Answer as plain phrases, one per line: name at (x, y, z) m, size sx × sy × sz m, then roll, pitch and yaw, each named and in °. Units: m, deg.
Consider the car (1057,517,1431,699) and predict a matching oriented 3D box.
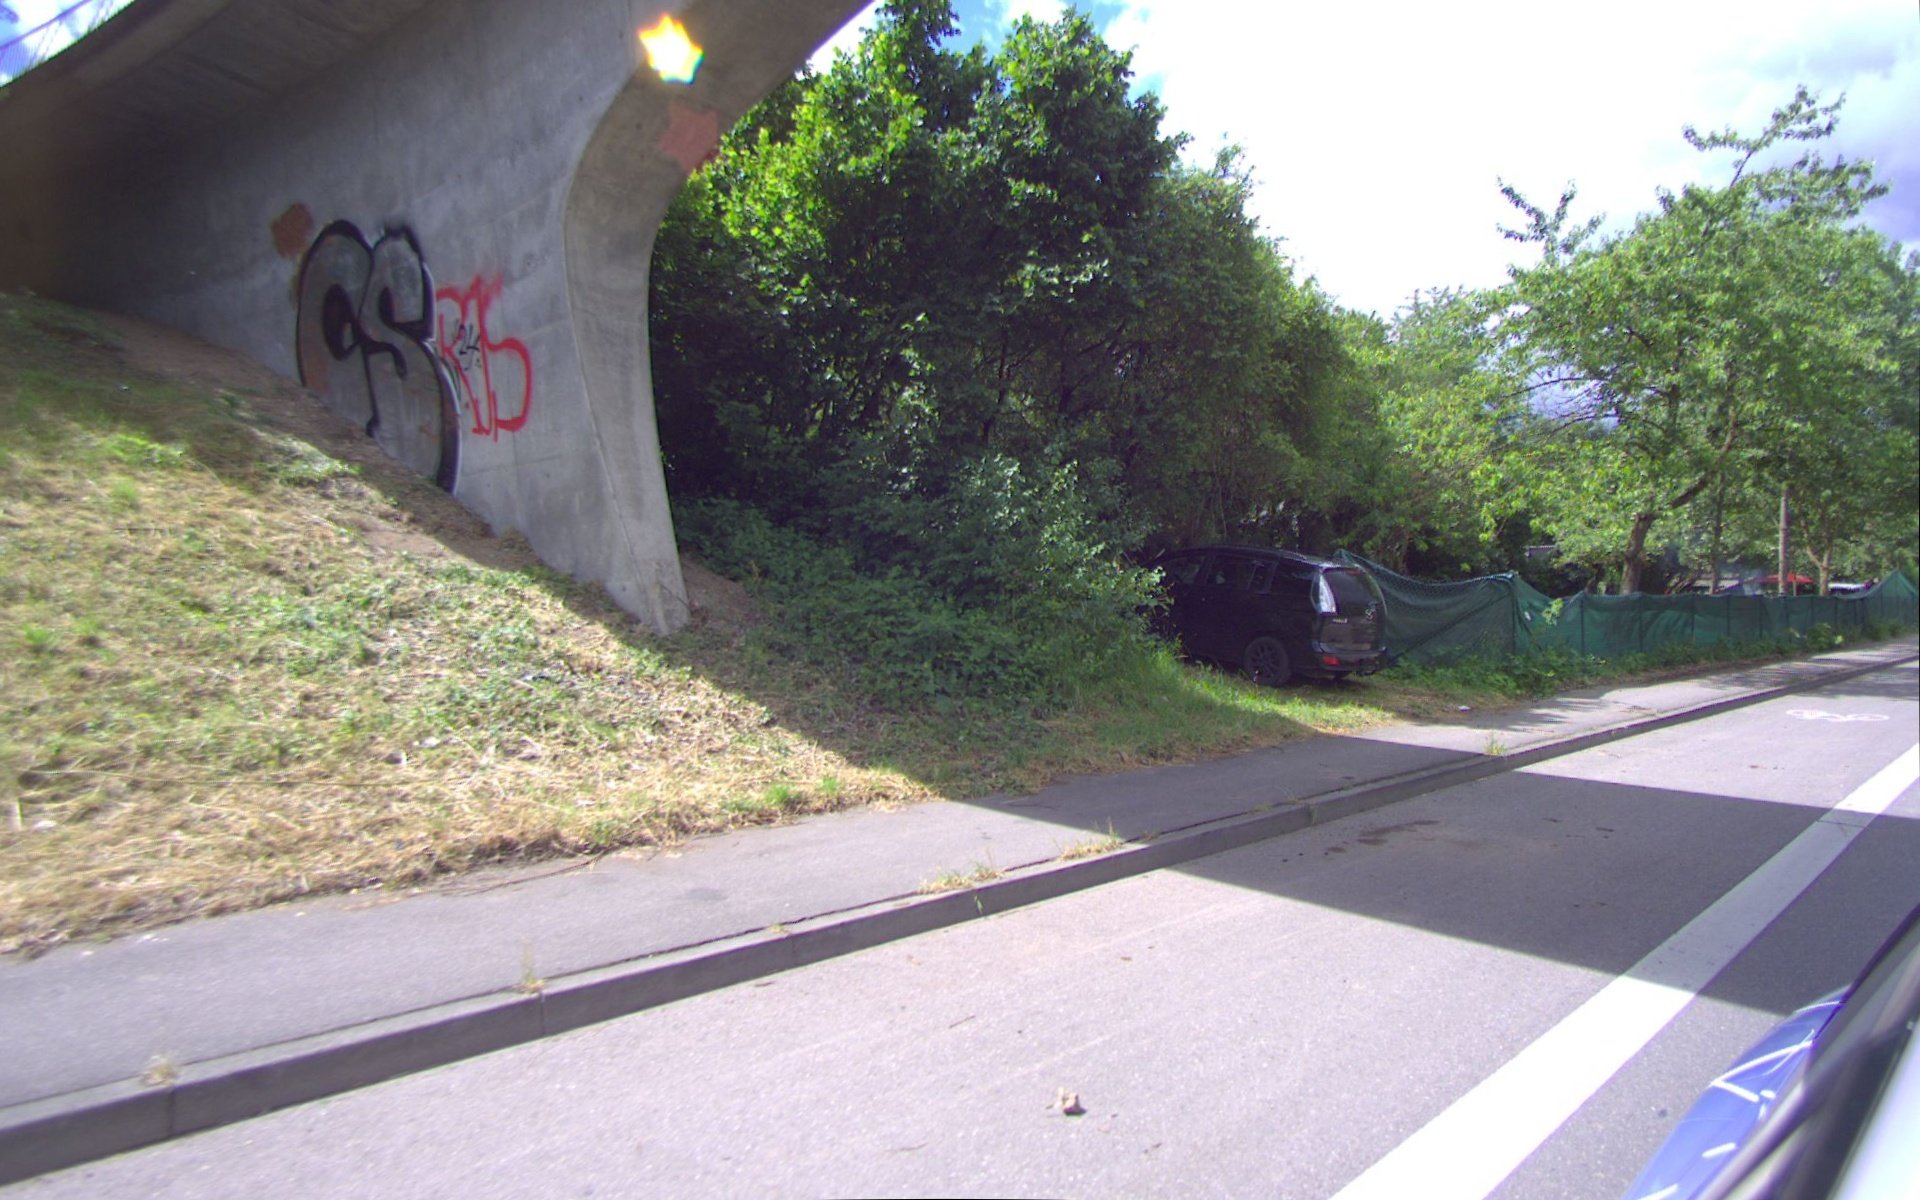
car at (3.650, -0.091, 13.840) m, size 1.964 × 1.689 × 4.542 m, roll -3°, pitch 10°, yaw -38°
